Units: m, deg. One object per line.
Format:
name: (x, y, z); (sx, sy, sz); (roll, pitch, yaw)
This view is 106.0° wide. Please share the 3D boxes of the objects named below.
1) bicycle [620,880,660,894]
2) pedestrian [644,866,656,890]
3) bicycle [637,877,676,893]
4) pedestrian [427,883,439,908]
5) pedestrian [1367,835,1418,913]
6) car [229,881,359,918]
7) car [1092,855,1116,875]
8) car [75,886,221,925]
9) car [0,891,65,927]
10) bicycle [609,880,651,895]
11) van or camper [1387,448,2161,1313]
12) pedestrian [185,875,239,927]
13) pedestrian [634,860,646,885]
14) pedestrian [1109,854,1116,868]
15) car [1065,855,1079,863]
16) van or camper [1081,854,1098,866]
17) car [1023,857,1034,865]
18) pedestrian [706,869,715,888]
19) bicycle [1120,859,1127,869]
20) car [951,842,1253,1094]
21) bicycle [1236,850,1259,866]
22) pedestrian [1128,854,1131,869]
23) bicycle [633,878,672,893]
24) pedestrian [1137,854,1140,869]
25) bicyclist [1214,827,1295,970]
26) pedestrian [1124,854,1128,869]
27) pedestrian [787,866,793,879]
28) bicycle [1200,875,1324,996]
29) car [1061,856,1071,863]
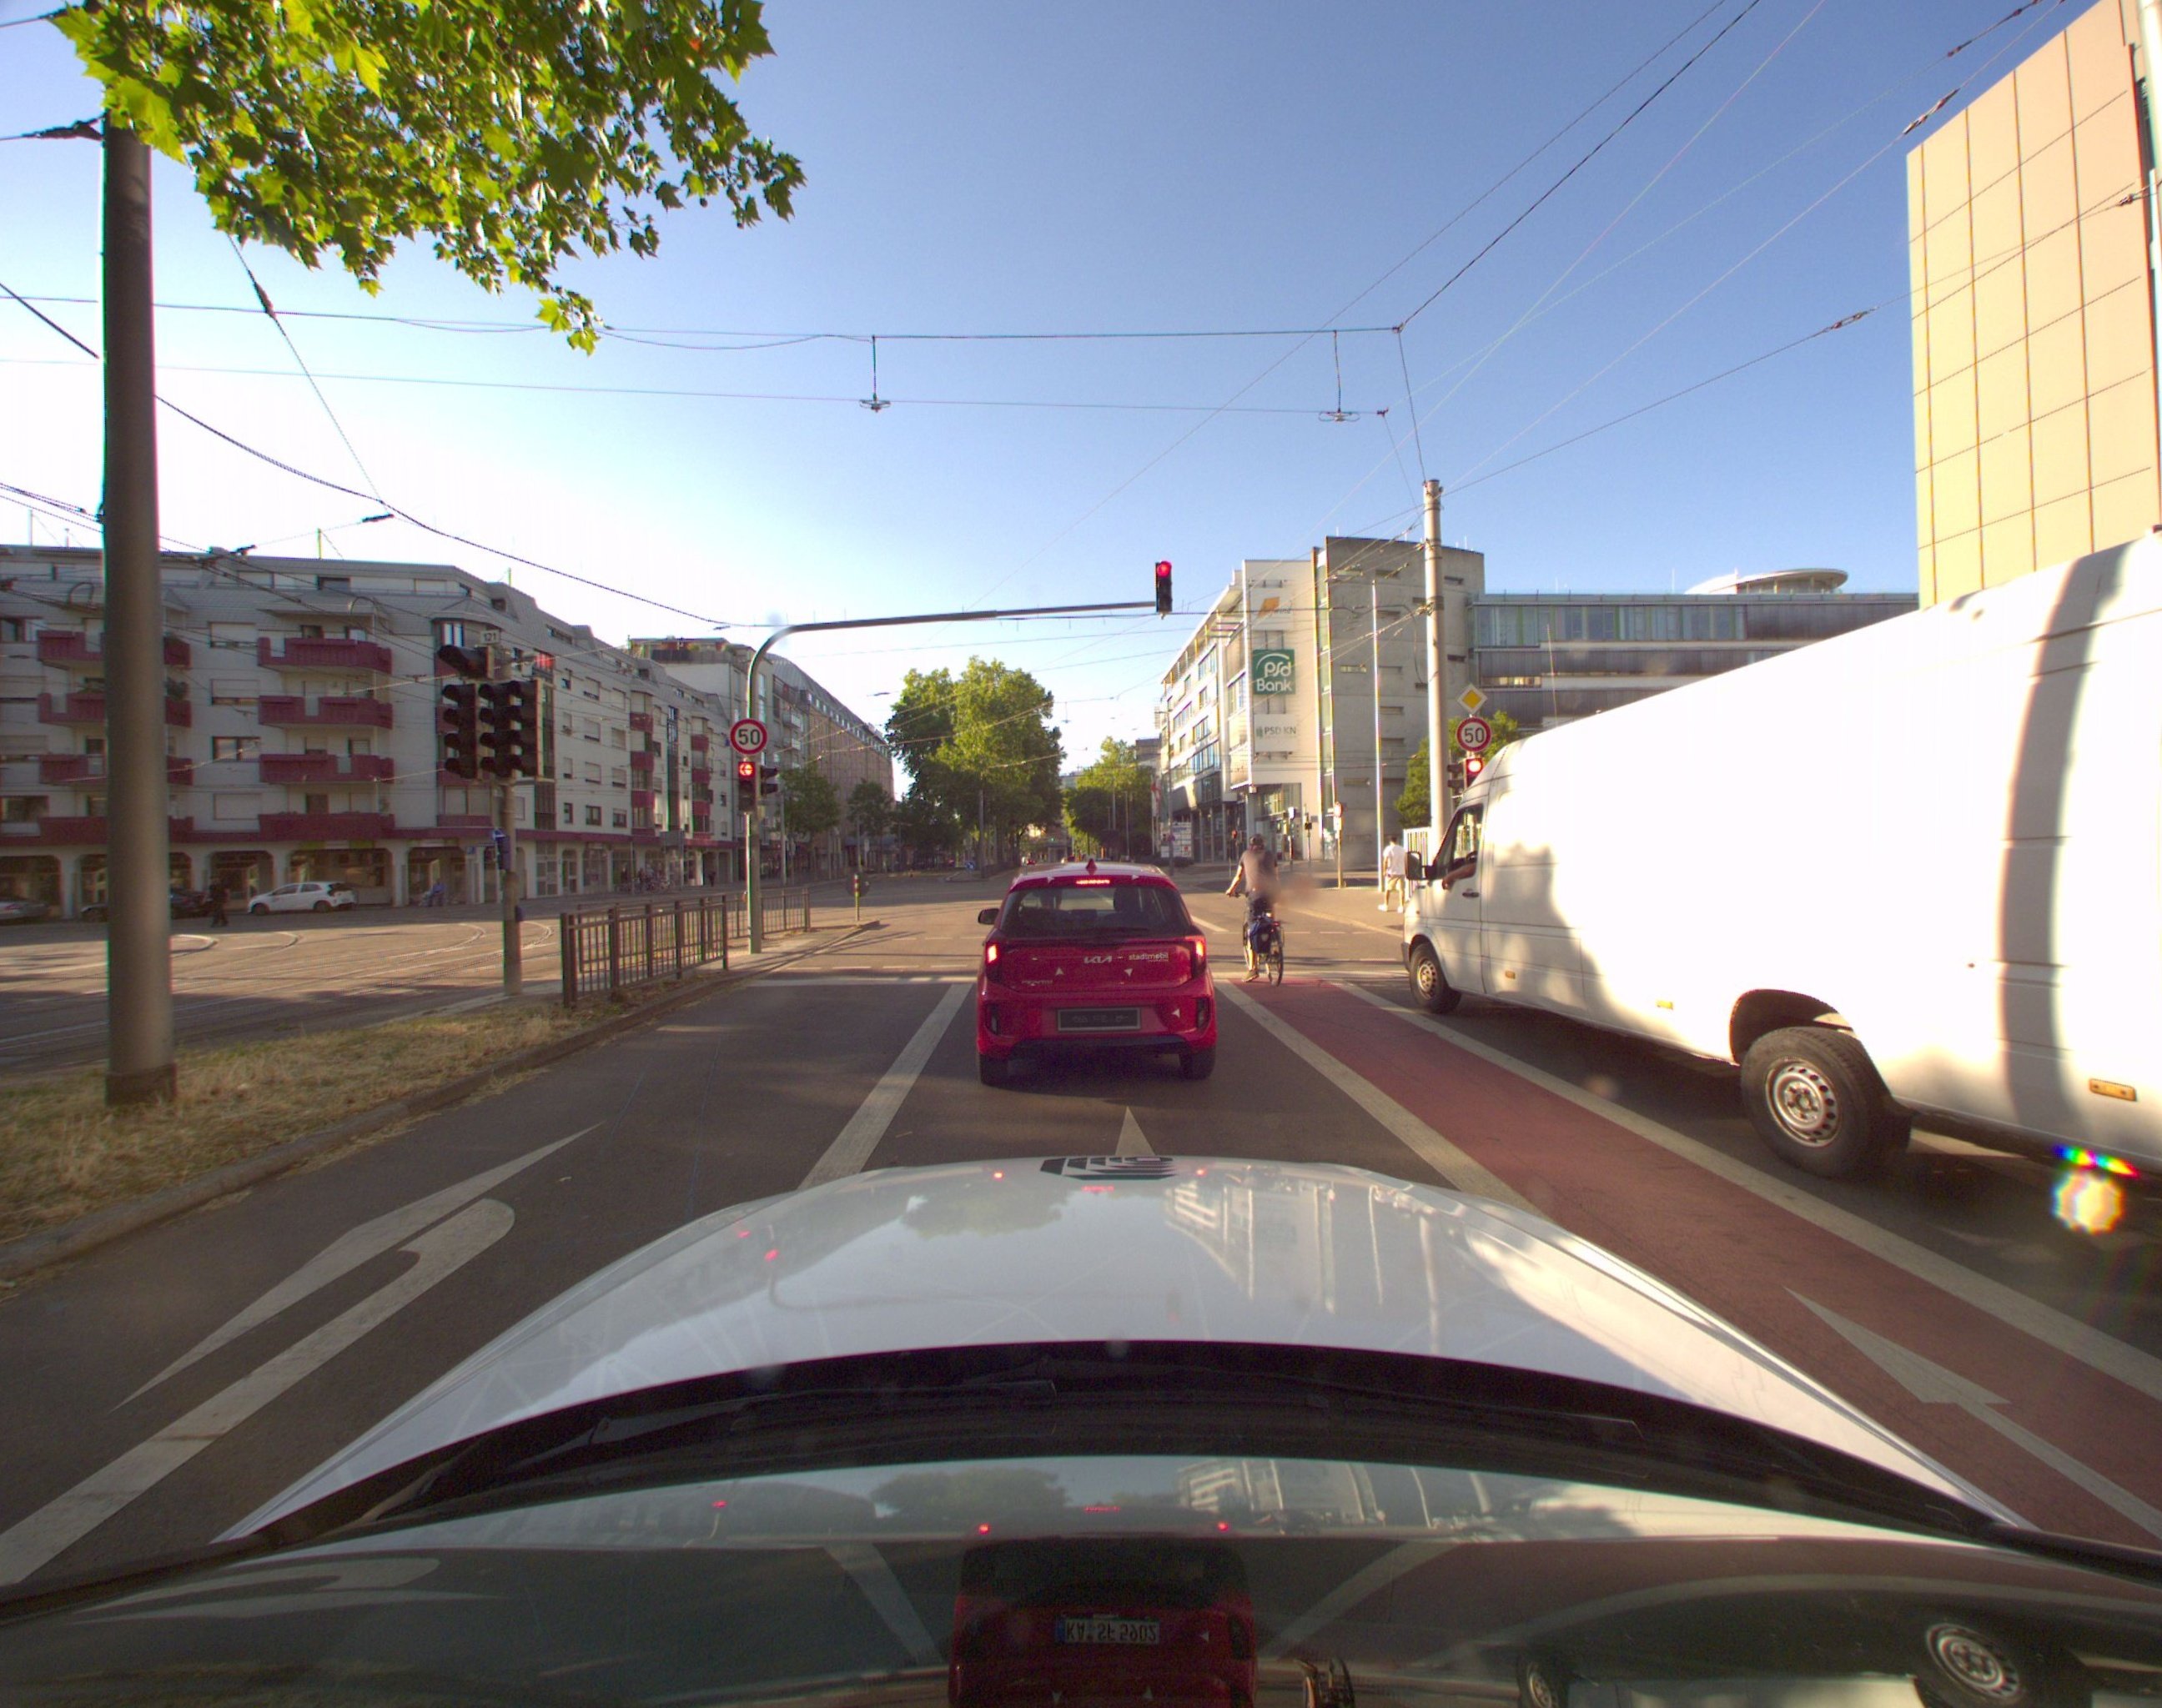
bicycle: (-27.868, 2.072, 51.467); (2.167, 0.787, 0.491); (-2, 0, -7)
pedestrian: (-30.591, 1.707, 57.844); (0.509, 1.699, 0.527); (-2, 0, -5)
bicycle: (-27.882, 2.018, 53.494); (2.167, 0.951, 0.491); (-2, 0, -7)
pedestrian: (-32.431, 2.072, 40.754); (0.303, 1.214, 0.318); (-2, 0, -8)
pedestrian: (7.302, 0.464, 19.100); (0.785, 1.748, 0.770); (-2, 0, -8)
car: (-37.217, 2.133, 38.643); (3.994, 1.464, 1.792); (-3, 0, -15)
car: (1.958, 0.932, 69.962); (1.837, 1.568, 4.273); (-2, 0, 0)
car: (-42.502, 2.324, 37.209); (3.995, 1.464, 1.792); (-3, 0, -16)
car: (-48.510, 2.500, 35.971); (4.263, 1.464, 1.793); (-3, 0, -14)
bicycle: (-28.085, 2.072, 50.716); (2.167, 0.787, 0.639); (-2, 0, -7)
van or camper: (4.451, 0.092, 5.412); (2.263, 2.733, 6.341); (1, 0, -2)
pedestrian: (-29.260, 1.560, 27.445); (0.708, 1.662, 1.031); (-2, 0, -8)
pedestrian: (-31.261, 1.317, 57.753); (0.509, 1.699, 0.527); (-2, 0, -5)
pedestrian: (3.861, 0.871, 100.188); (0.740, 1.716, 0.748); (-2, 0, 0)
car: (-1.857, 1.108, 167.382); (2.474, 1.528, 4.424); (-3, 0, -5)
van or camper: (1.395, 0.960, 132.286); (2.143, 1.750, 4.422); (-3, 0, -6)
car: (-11.283, 1.472, 175.813); (2.056, 1.654, 3.482); (-2, 0, -8)
pedestrian: (-29.790, 1.961, 65.561); (0.511, 1.459, 0.526); (-2, 0, -12)
bicycle: (4.841, 1.127, 92.846); (0.789, 1.161, 2.502); (-2, 0, 3)
car: (0.055, 0.702, 6.912); (1.835, 1.489, 3.712); (-2, 0, -3)
bicycle: (15.268, 0.346, 74.794); (1.931, 1.443, 0.574); (-2, 0, -5)
pedestrian: (5.027, 0.761, 84.332); (0.293, 1.562, 0.356); (-2, 0, -1)
bicycle: (-27.803, 2.047, 52.855); (2.167, 0.824, 0.526); (-2, 0, -7)
pedestrian: (5.935, 0.743, 84.144); (0.293, 1.562, 0.314); (-2, 0, 3)
bicyclist: (2.101, 0.511, 9.927); (0.743, 1.669, 0.742); (0, 0, -10)
pedestrian: (4.650, 0.767, 84.341); (0.293, 1.562, 0.302); (-2, 0, 1)
pedestrian: (-31.957, 2.017, 89.380); (0.509, 1.459, 0.527); (-2, 0, -5)
bicycle: (2.105, 0.898, 9.837); (0.743, 1.224, 2.149); (0, 0, -9)
car: (-3.427, 1.275, 183.596); (1.882, 1.528, 4.422); (-3, 0, -6)
